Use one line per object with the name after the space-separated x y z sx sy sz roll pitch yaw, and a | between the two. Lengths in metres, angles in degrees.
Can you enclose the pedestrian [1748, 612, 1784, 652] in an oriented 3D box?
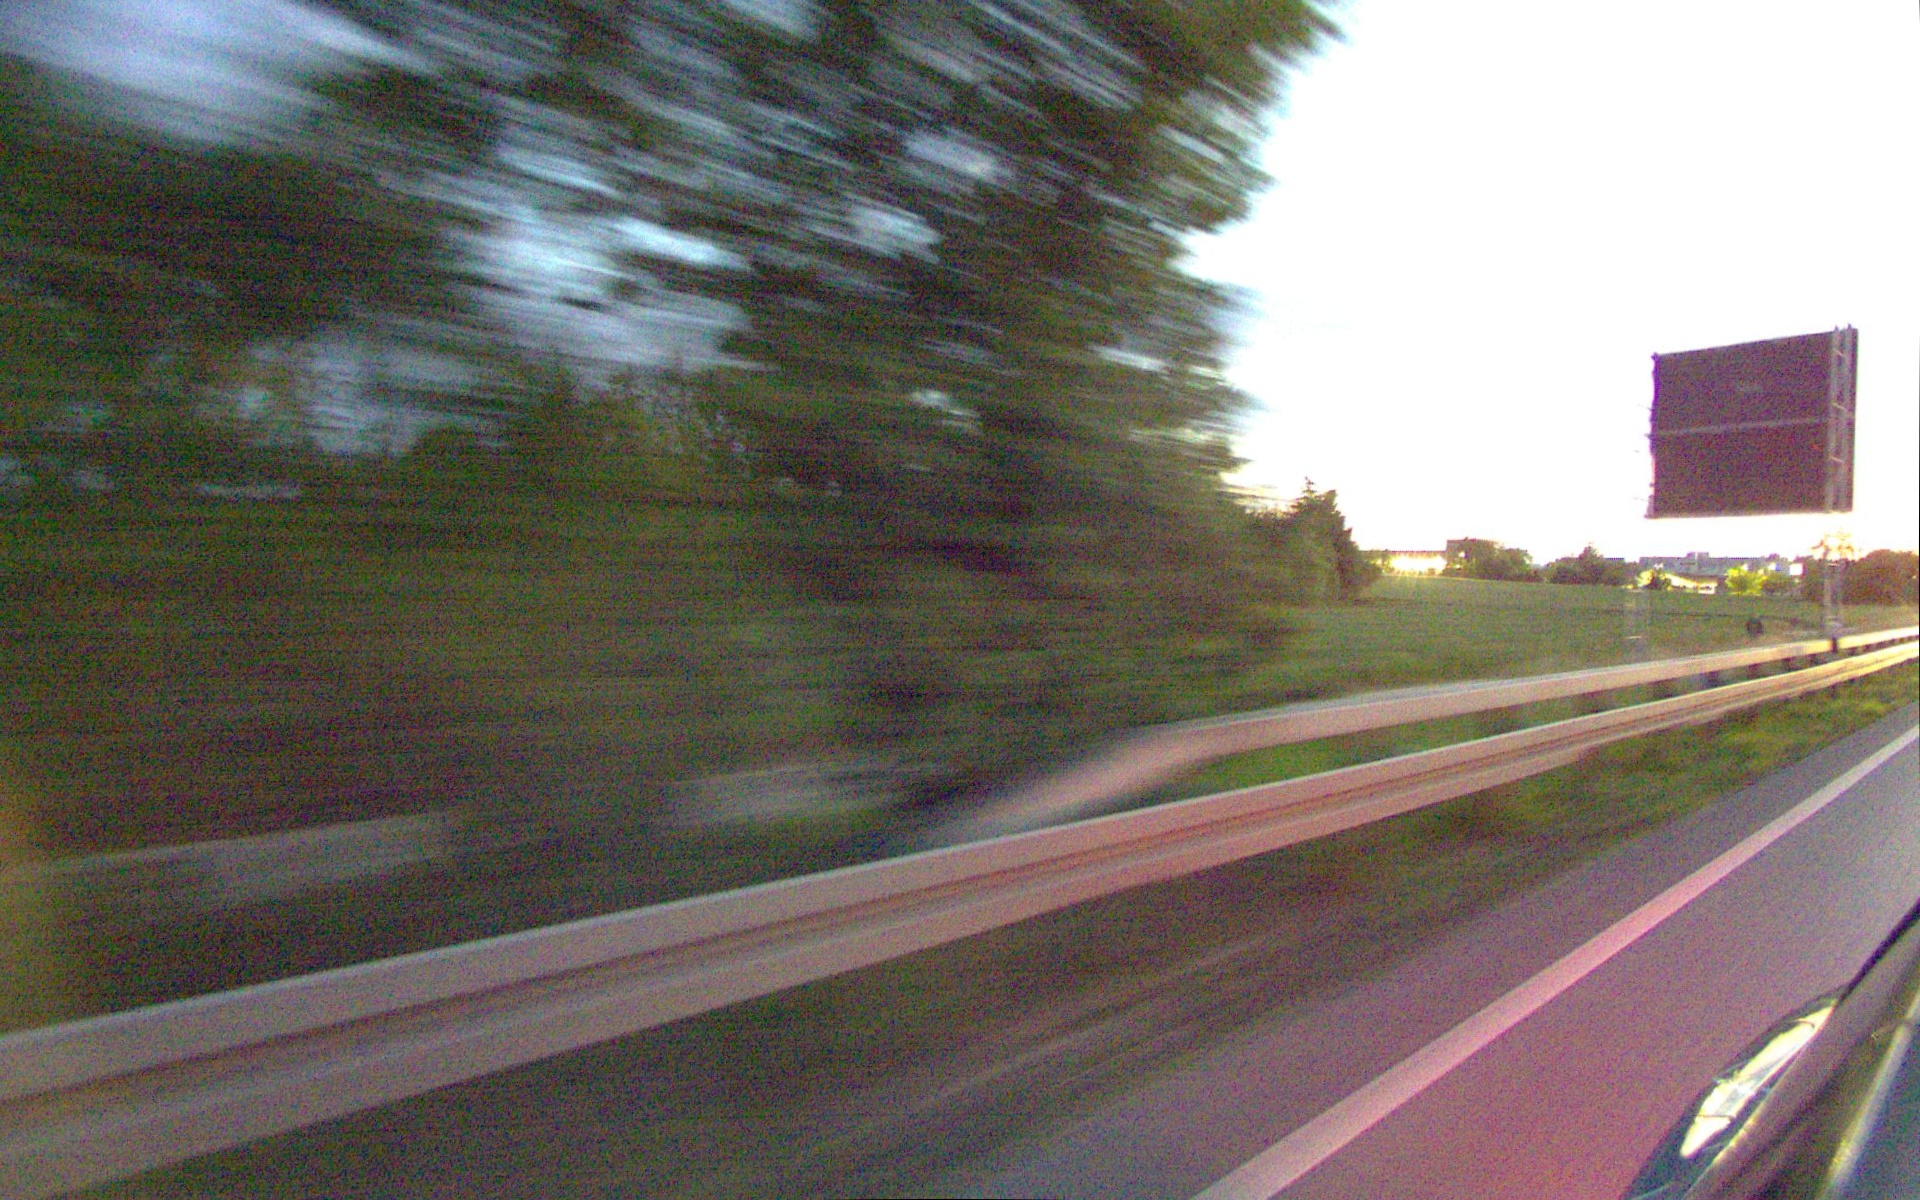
34.500 1.362 43.321 1.099 1.664 1.063 0 0 -42 | pedestrian
